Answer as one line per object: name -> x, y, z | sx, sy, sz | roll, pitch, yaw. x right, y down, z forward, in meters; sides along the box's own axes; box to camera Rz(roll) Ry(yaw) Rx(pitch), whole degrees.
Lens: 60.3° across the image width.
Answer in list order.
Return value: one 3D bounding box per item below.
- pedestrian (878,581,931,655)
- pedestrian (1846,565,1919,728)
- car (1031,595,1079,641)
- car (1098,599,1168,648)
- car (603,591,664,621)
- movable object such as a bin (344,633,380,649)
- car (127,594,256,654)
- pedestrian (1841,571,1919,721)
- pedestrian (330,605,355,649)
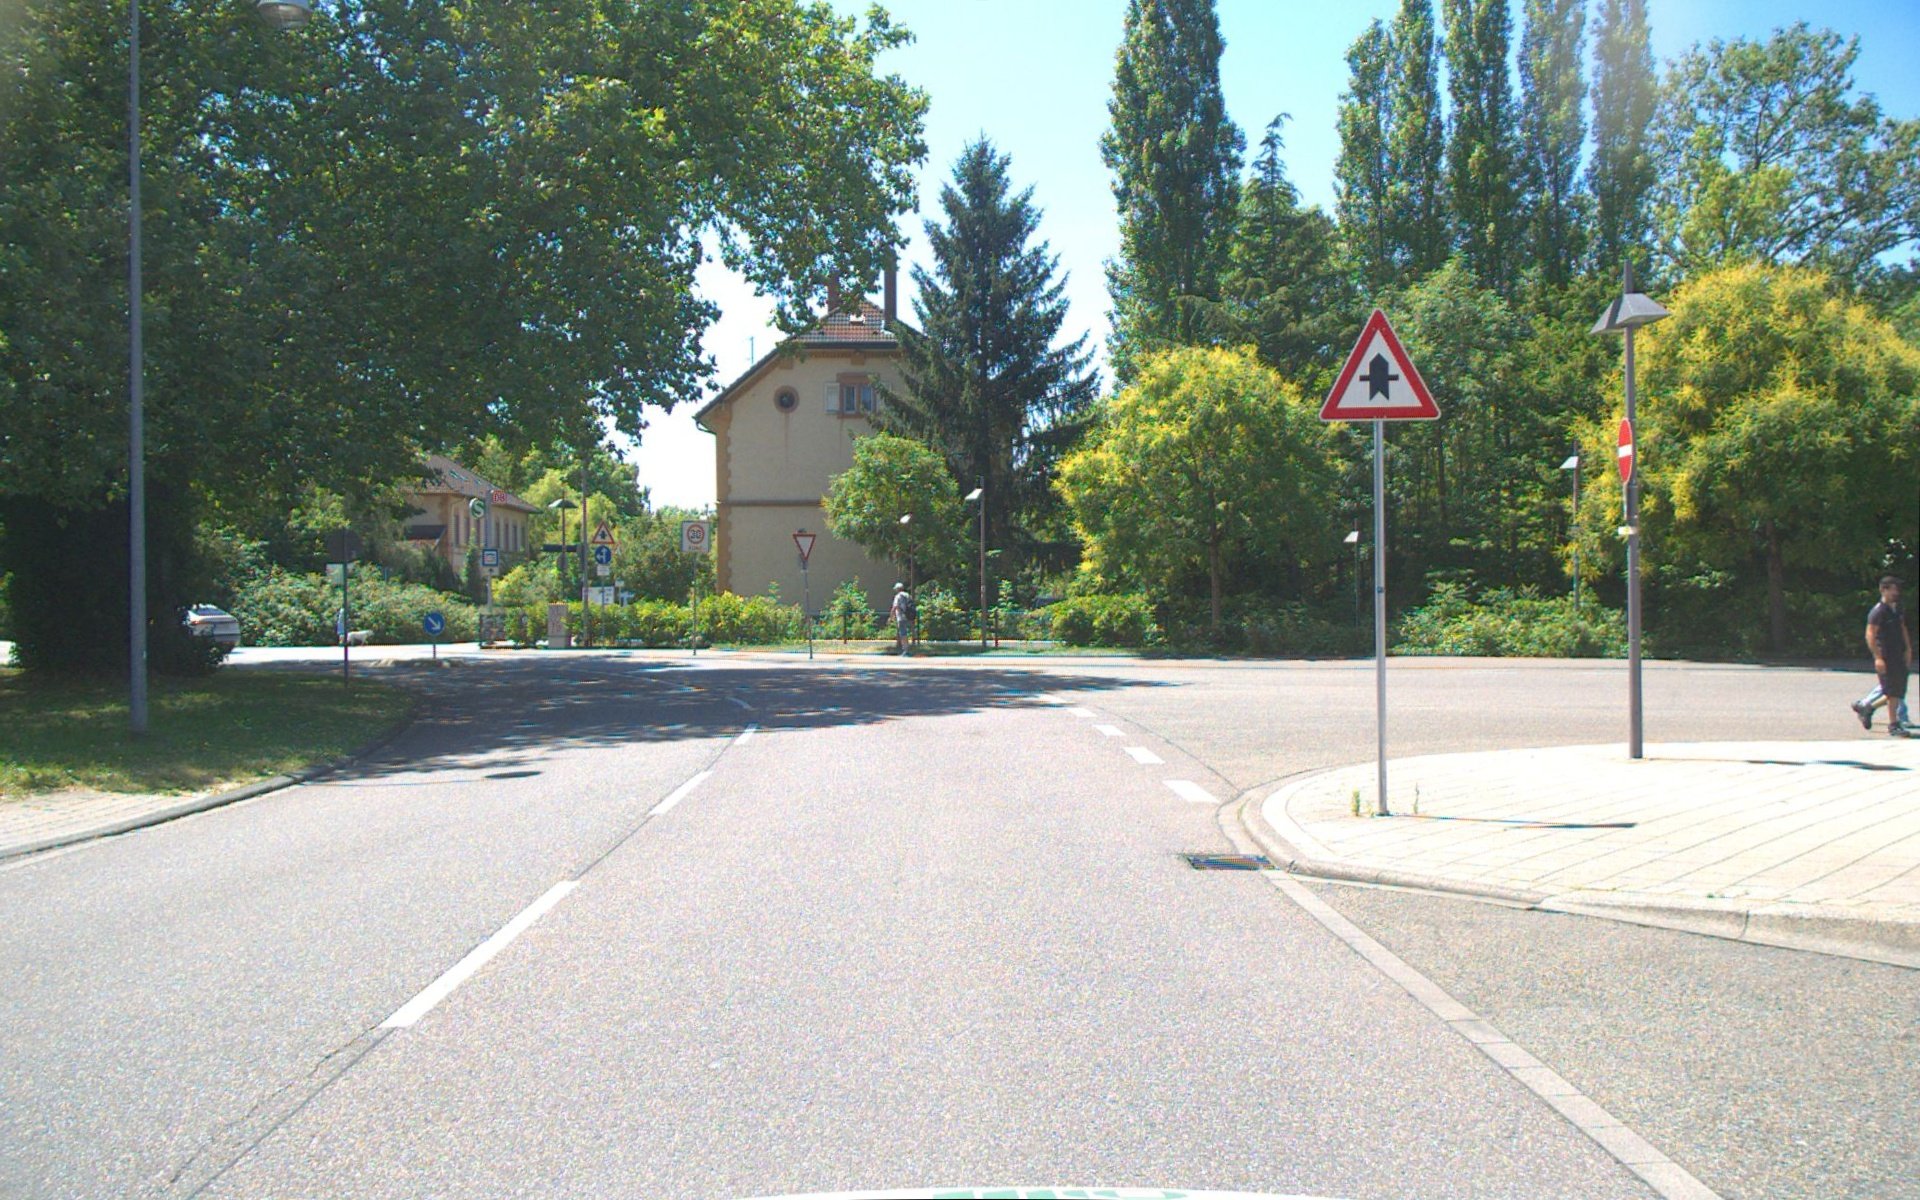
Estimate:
pedestrian -> -1.418, 0.448, 42.194 | 0.907, 1.802, 0.902 | -4, 2, -41
pedestrian -> 10.661, 0.520, 19.022 | 0.678, 1.816, 0.915 | -1, 0, 20
car -> 3.322, 0.606, 58.064 | 1.615, 1.563, 3.971 | -1, 0, 3
car -> 5.569, 0.731, 53.672 | 1.728, 1.526, 4.499 | -1, 0, -1
car -> -26.025, 0.460, 131.936 | 4.352, 2.362, 2.203 | -1, 0, 2
movable object such as a bin -> -23.008, 1.576, 63.625 | 0.507, 0.605, 1.236 | -1, 0, 39
car -> -26.223, 0.853, 56.420 | 4.380, 1.643, 1.935 | -4, -9, 35
pedestrian -> 11.172, 0.543, 20.075 | 0.659, 1.766, 0.915 | -1, 0, 17
pedestrian -> -23.873, 1.037, 63.914 | 0.685, 1.656, 0.615 | 1, 1, 32
